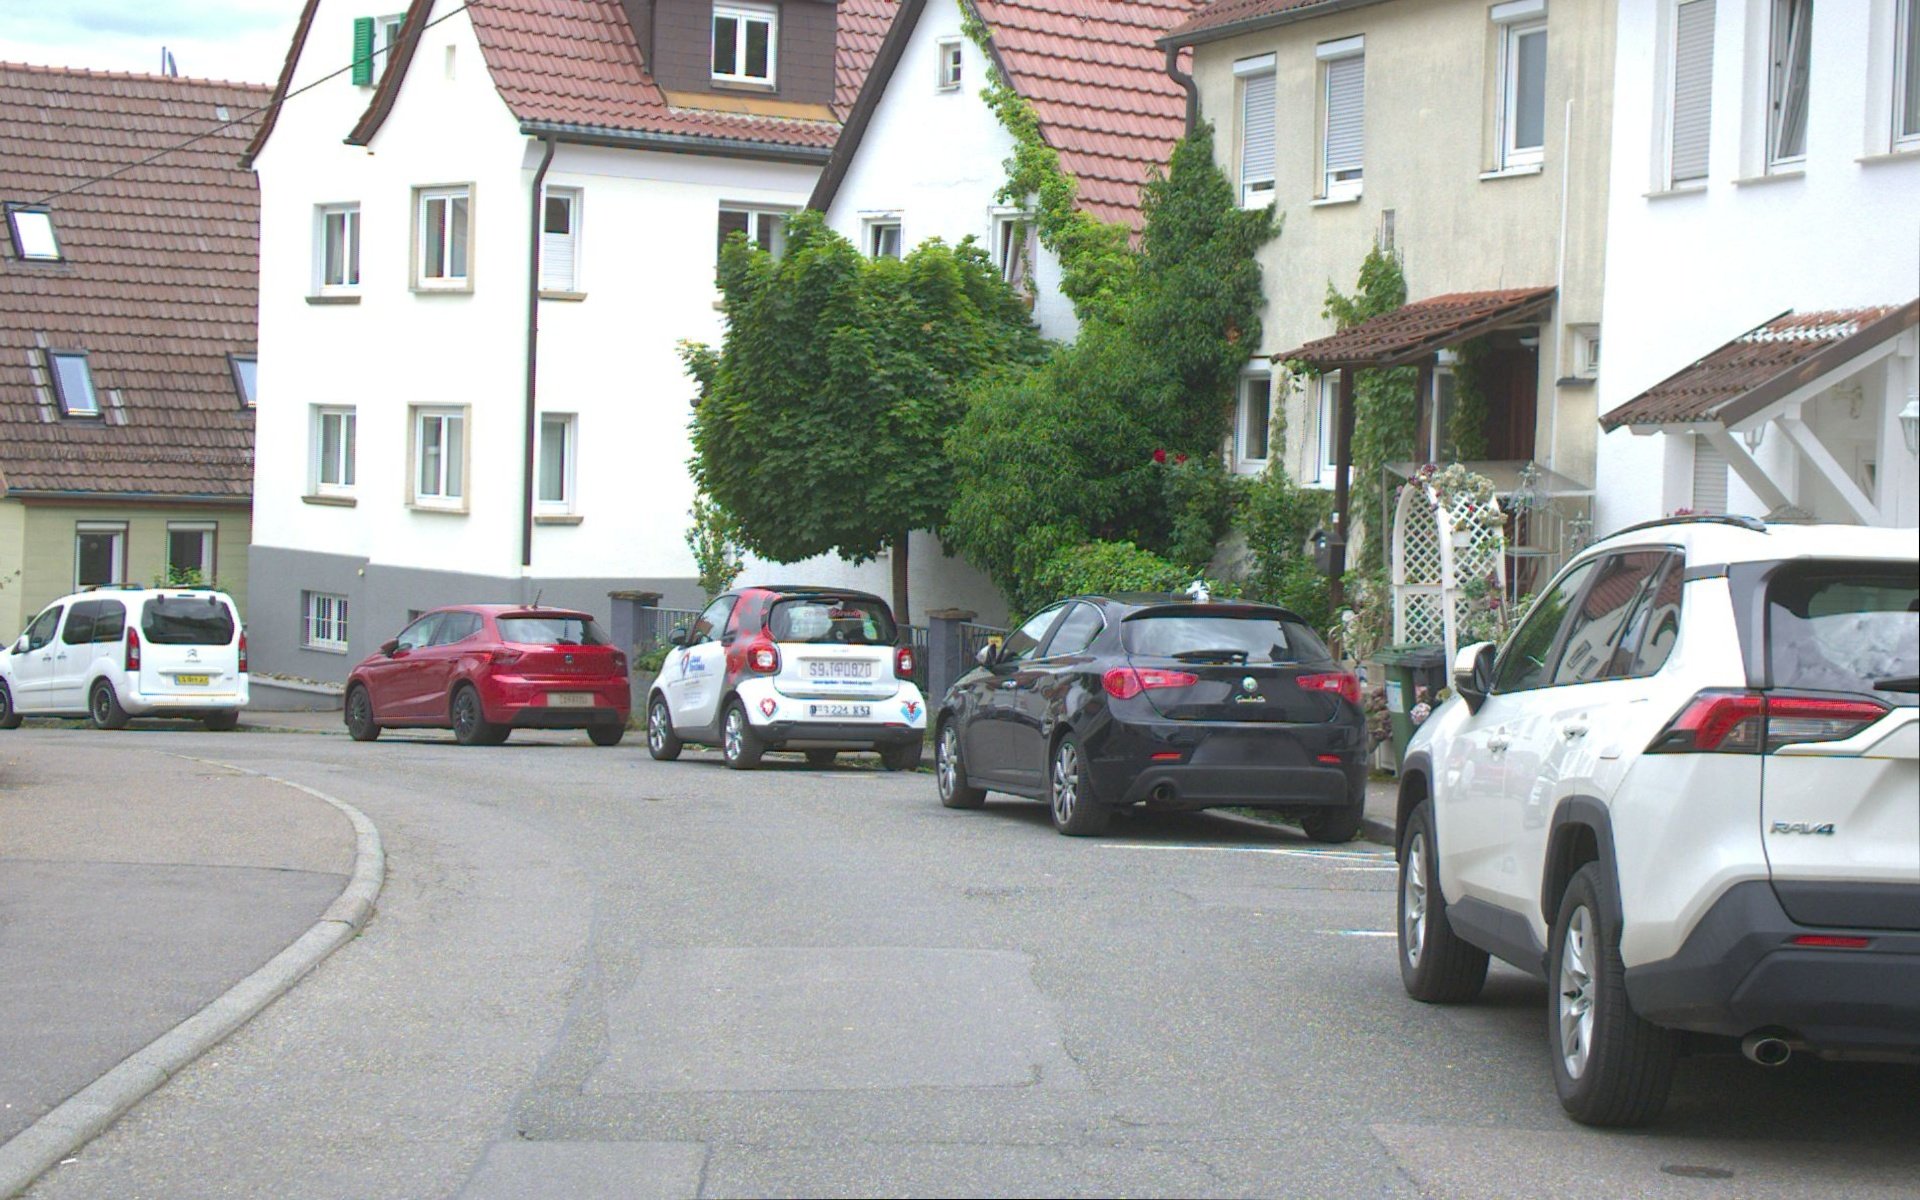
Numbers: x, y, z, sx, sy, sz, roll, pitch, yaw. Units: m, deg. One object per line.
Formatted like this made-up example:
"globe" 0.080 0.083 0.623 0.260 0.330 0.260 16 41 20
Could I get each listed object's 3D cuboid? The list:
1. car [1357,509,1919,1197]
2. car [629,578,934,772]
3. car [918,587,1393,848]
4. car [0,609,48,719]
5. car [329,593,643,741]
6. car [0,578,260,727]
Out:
"car" 2.572 0.592 10.571 1.946 1.634 4.461 3 1 -2
"car" -1.586 0.636 29.697 1.611 1.527 2.897 3 -2 -24
"car" 1.099 0.669 21.416 1.717 1.402 4.004 2 0 -15
"car" -14.580 0.916 48.019 4.048 1.501 1.734 -2 -3 45
"car" -4.973 0.702 35.713 1.679 1.447 3.851 1 -2 -34
"car" -10.884 0.684 43.927 1.836 1.808 4.302 2 -2 -42
